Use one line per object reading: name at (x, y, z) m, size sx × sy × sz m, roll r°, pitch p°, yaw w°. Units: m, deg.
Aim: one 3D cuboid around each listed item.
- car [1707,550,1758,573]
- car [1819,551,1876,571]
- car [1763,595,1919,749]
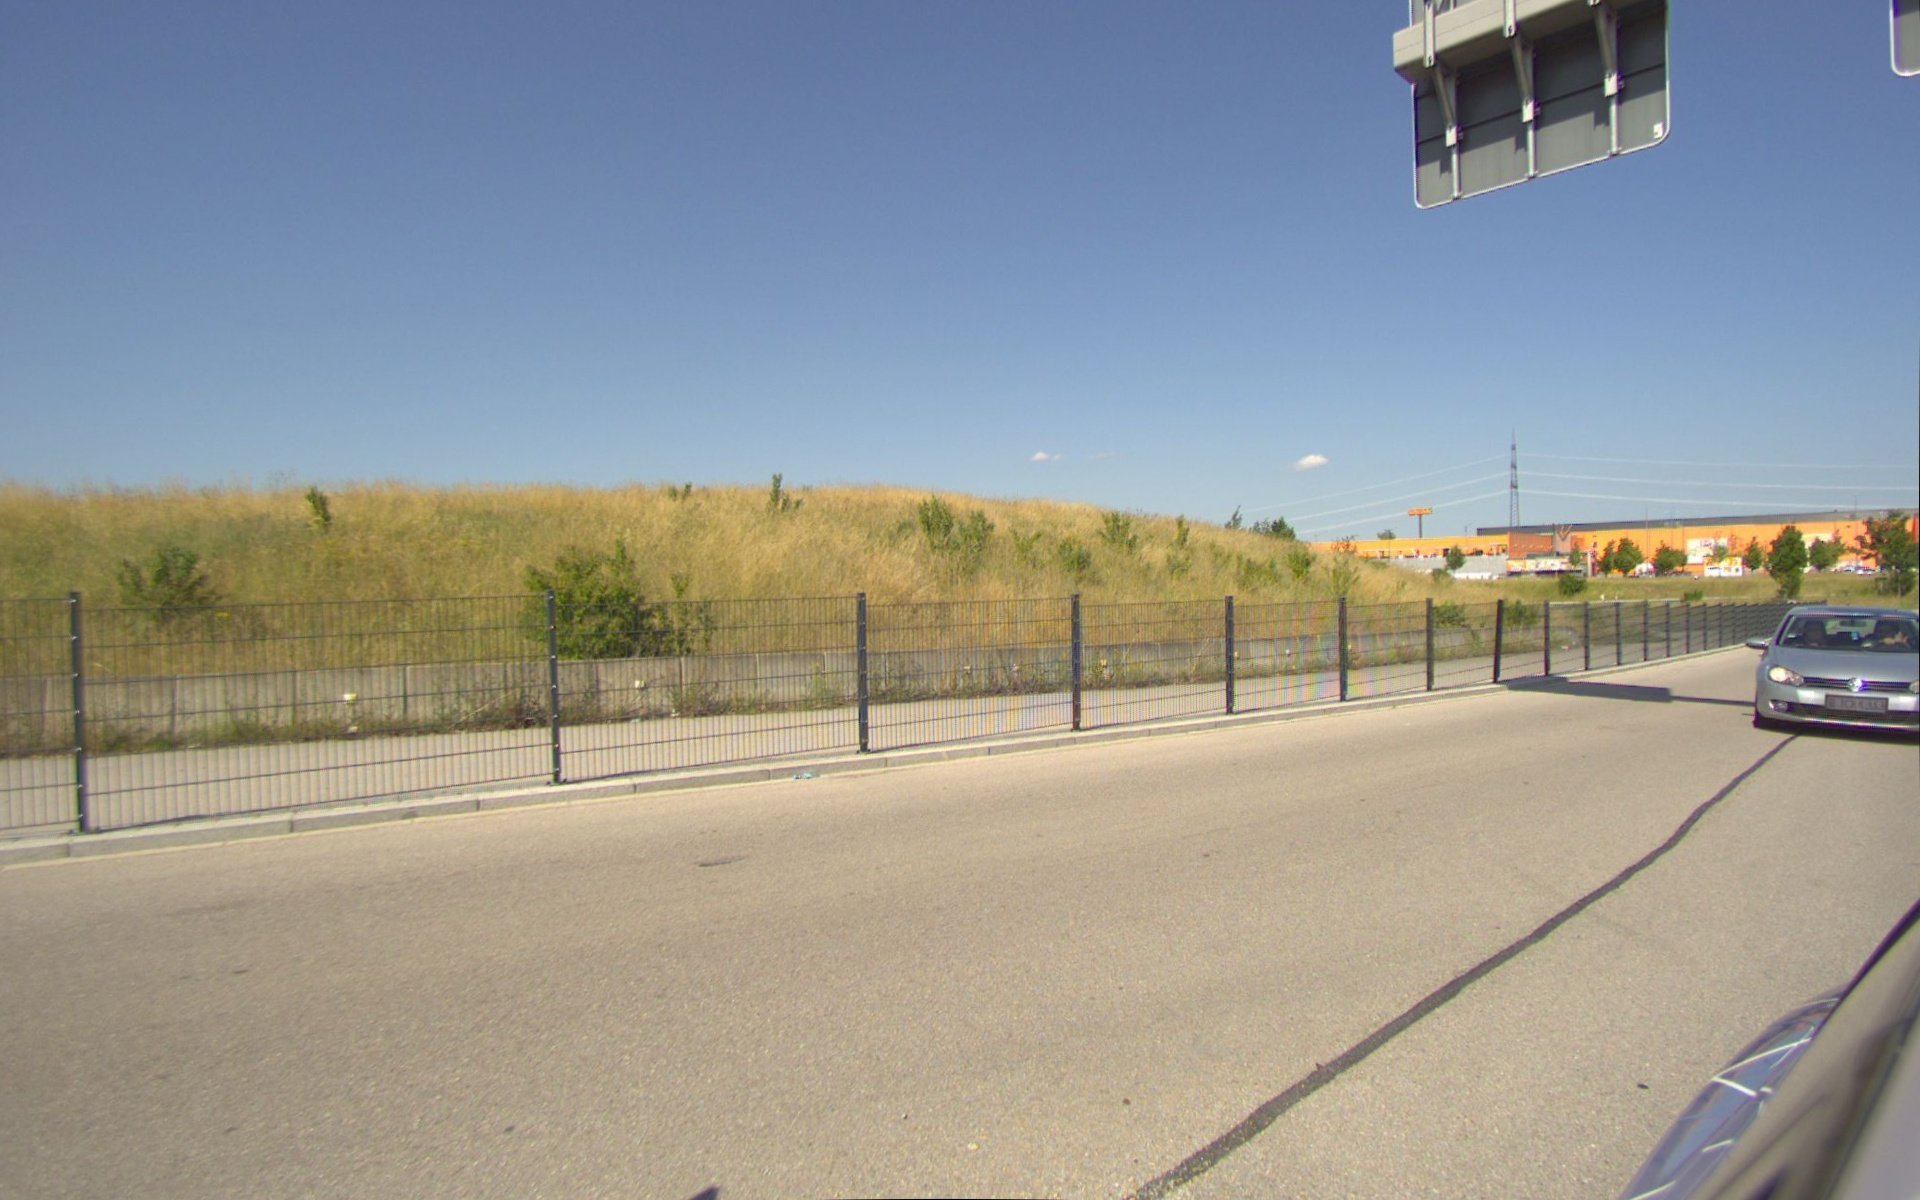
car at (91.457, -4.543, 119.836) m, size 4.615 × 2.581 × 1.971 m, roll -1°, pitch 0°, yaw 41°
car at (98.849, -4.277, 112.781) m, size 4.615 × 2.039 × 1.971 m, roll -1°, pitch 0°, yaw 41°
car at (10.787, 0.735, 12.140) m, size 1.739 × 1.486 × 3.906 m, roll 2°, pitch 2°, yaw 38°
